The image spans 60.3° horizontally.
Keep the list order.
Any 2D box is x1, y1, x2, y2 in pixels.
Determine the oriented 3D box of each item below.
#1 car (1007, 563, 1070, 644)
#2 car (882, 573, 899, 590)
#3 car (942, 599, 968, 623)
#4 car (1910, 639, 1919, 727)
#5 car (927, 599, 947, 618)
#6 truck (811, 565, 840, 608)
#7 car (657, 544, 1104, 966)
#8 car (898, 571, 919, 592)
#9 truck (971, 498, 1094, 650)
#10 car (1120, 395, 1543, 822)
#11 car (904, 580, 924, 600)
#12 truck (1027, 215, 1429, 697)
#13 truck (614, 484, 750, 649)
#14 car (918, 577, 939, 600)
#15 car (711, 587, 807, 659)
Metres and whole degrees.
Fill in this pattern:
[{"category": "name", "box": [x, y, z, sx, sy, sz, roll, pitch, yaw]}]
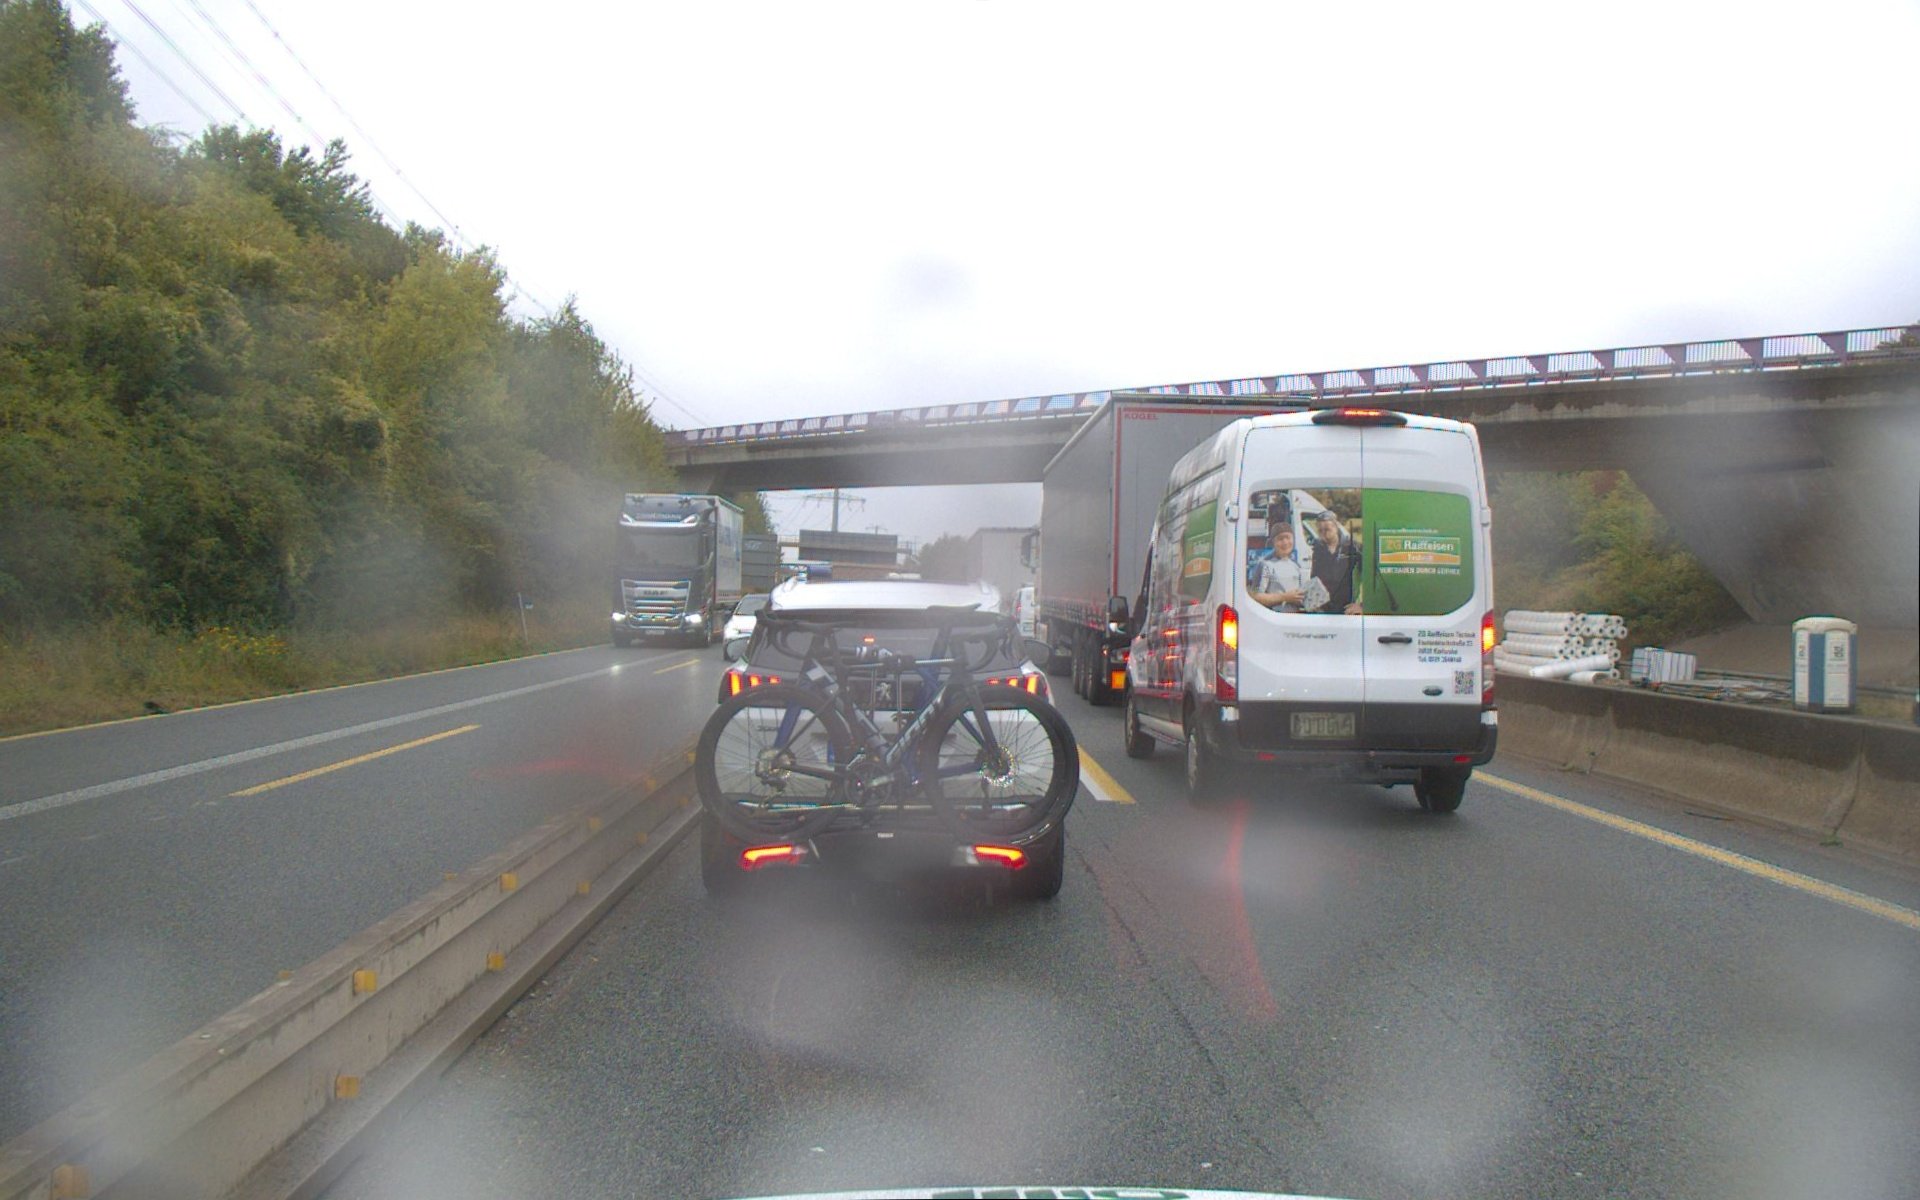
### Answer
[{"category": "car", "box": [2.242, 0.109, 47.883, 1.635, 2.218, 4.535, 1, 0, 1]}, {"category": "car", "box": [-9.161, -2.477, 218.610, 1.953, 2.164, 4.526, 1, 0, 0]}, {"category": "car", "box": [-0.305, 0.698, 106.579, 1.605, 1.524, 3.665, 1, 0, 0]}, {"category": "car", "box": [21.039, 1.746, 32.945, 1.810, 1.840, 4.156, 1, 0, -1]}, {"category": "car", "box": [-1.830, 0.690, 132.862, 1.605, 1.524, 3.665, 1, 0, 0]}, {"category": "truck", "box": [-13.660, -1.339, 168.456, 2.414, 4.195, 10.085, 1, 0, -2]}, {"category": "car", "box": [-0.287, 0.631, 8.958, 1.773, 1.666, 4.636, 1, 0, 1]}, {"category": "car", "box": [-5.762, -2.066, 186.268, 2.193, 2.348, 4.571, 1, 0, 0]}, {"category": "truck", "box": [2.948, -0.948, 73.874, 4.645, 5.772, 20.376, 1, 0, 1]}, {"category": "car", "box": [2.700, 0.065, 13.734, 2.100, 2.723, 6.116, 1, 0, 0]}, {"category": "car", "box": [-4.783, -1.002, 173.522, 1.953, 2.049, 4.000, 1, 0, 0]}, {"category": "truck", "box": [3.659, -1.697, 30.186, 3.898, 5.772, 20.373, 1, 0, 0]}, {"category": "truck", "box": [-7.760, -0.832, 47.400, 2.414, 4.195, 10.085, 1, 0, -2]}, {"category": "car", "box": [-2.912, -1.023, 153.182, 1.953, 2.049, 3.999, 1, 0, -1]}, {"category": "car", "box": [-4.495, 0.496, 37.533, 1.900, 1.520, 3.997, 1, 0, -4]}]
